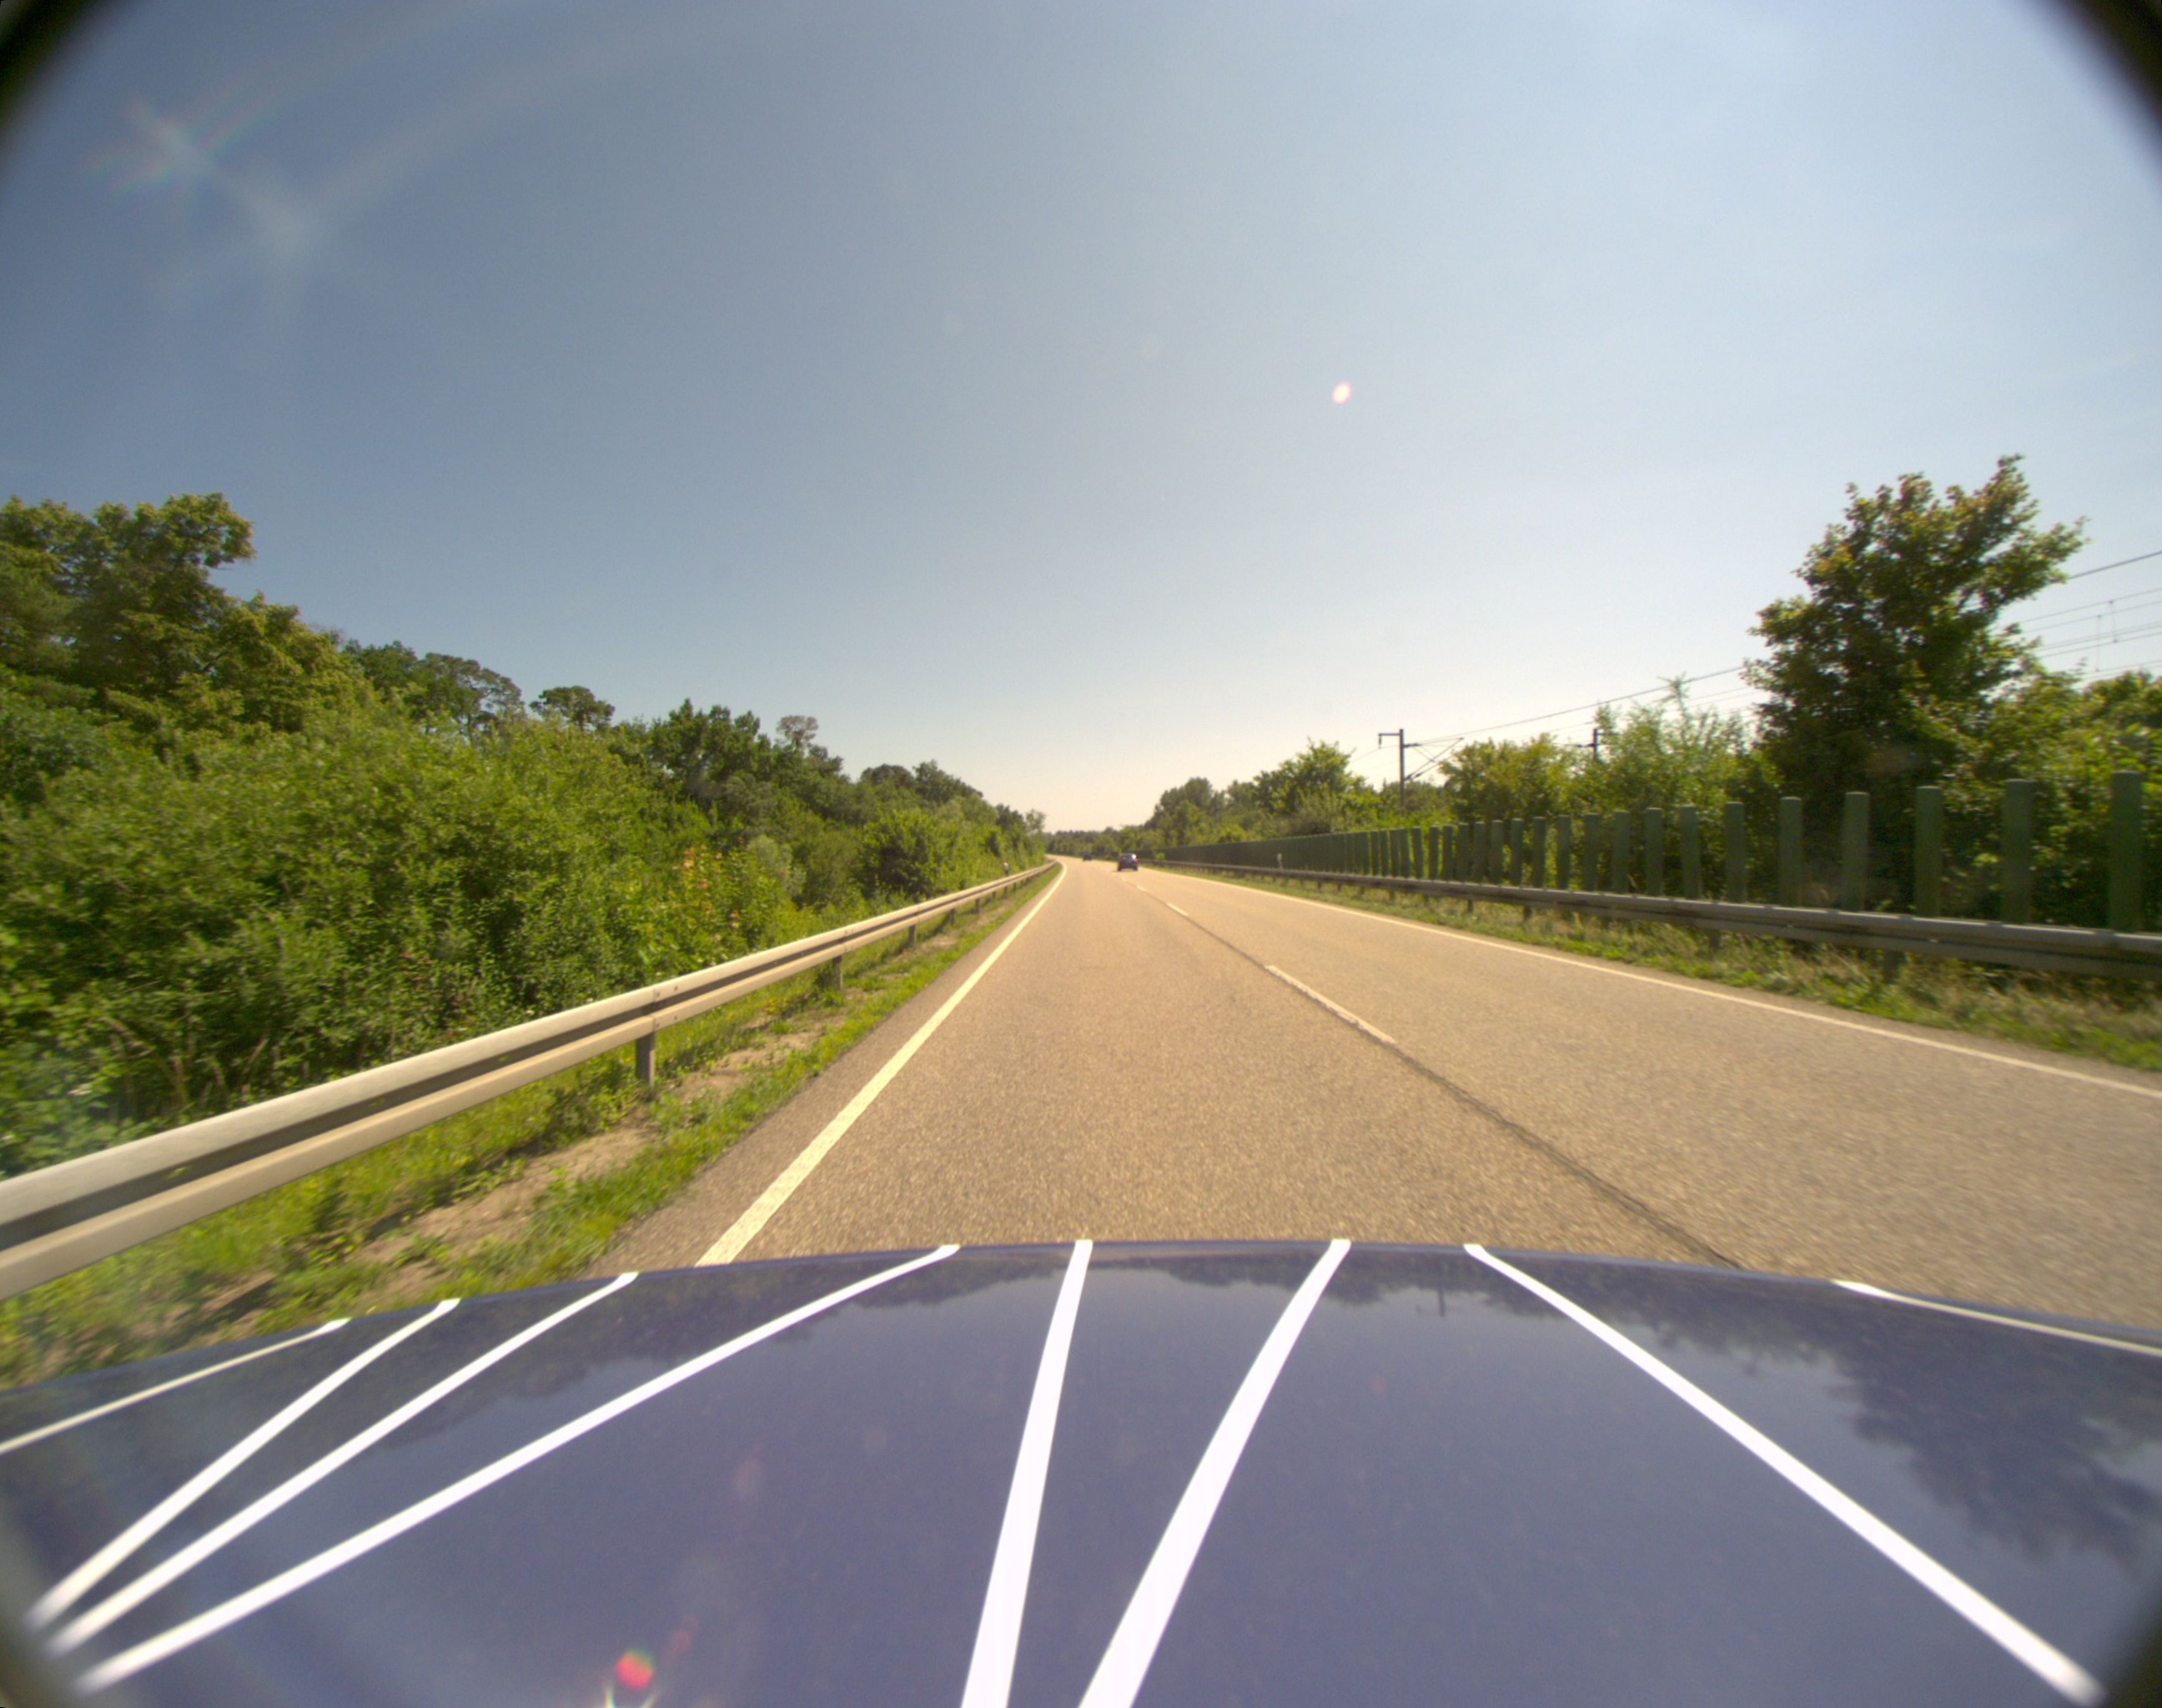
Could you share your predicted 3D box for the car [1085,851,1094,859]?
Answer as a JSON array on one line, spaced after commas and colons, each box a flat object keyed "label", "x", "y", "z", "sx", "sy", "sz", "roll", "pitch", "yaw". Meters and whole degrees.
[{"label": "car", "x": 1.829, "y": 0.243, "z": 160.291, "sx": 1.768, "sy": 1.630, "sz": 4.126, "roll": -2, "pitch": 0, "yaw": 0}]

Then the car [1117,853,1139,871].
[{"label": "car", "x": 4.066, "y": 0.683, "z": 66.409, "sx": 1.652, "sy": 1.470, "sz": 3.676, "roll": -2, "pitch": 0, "yaw": -1}]
